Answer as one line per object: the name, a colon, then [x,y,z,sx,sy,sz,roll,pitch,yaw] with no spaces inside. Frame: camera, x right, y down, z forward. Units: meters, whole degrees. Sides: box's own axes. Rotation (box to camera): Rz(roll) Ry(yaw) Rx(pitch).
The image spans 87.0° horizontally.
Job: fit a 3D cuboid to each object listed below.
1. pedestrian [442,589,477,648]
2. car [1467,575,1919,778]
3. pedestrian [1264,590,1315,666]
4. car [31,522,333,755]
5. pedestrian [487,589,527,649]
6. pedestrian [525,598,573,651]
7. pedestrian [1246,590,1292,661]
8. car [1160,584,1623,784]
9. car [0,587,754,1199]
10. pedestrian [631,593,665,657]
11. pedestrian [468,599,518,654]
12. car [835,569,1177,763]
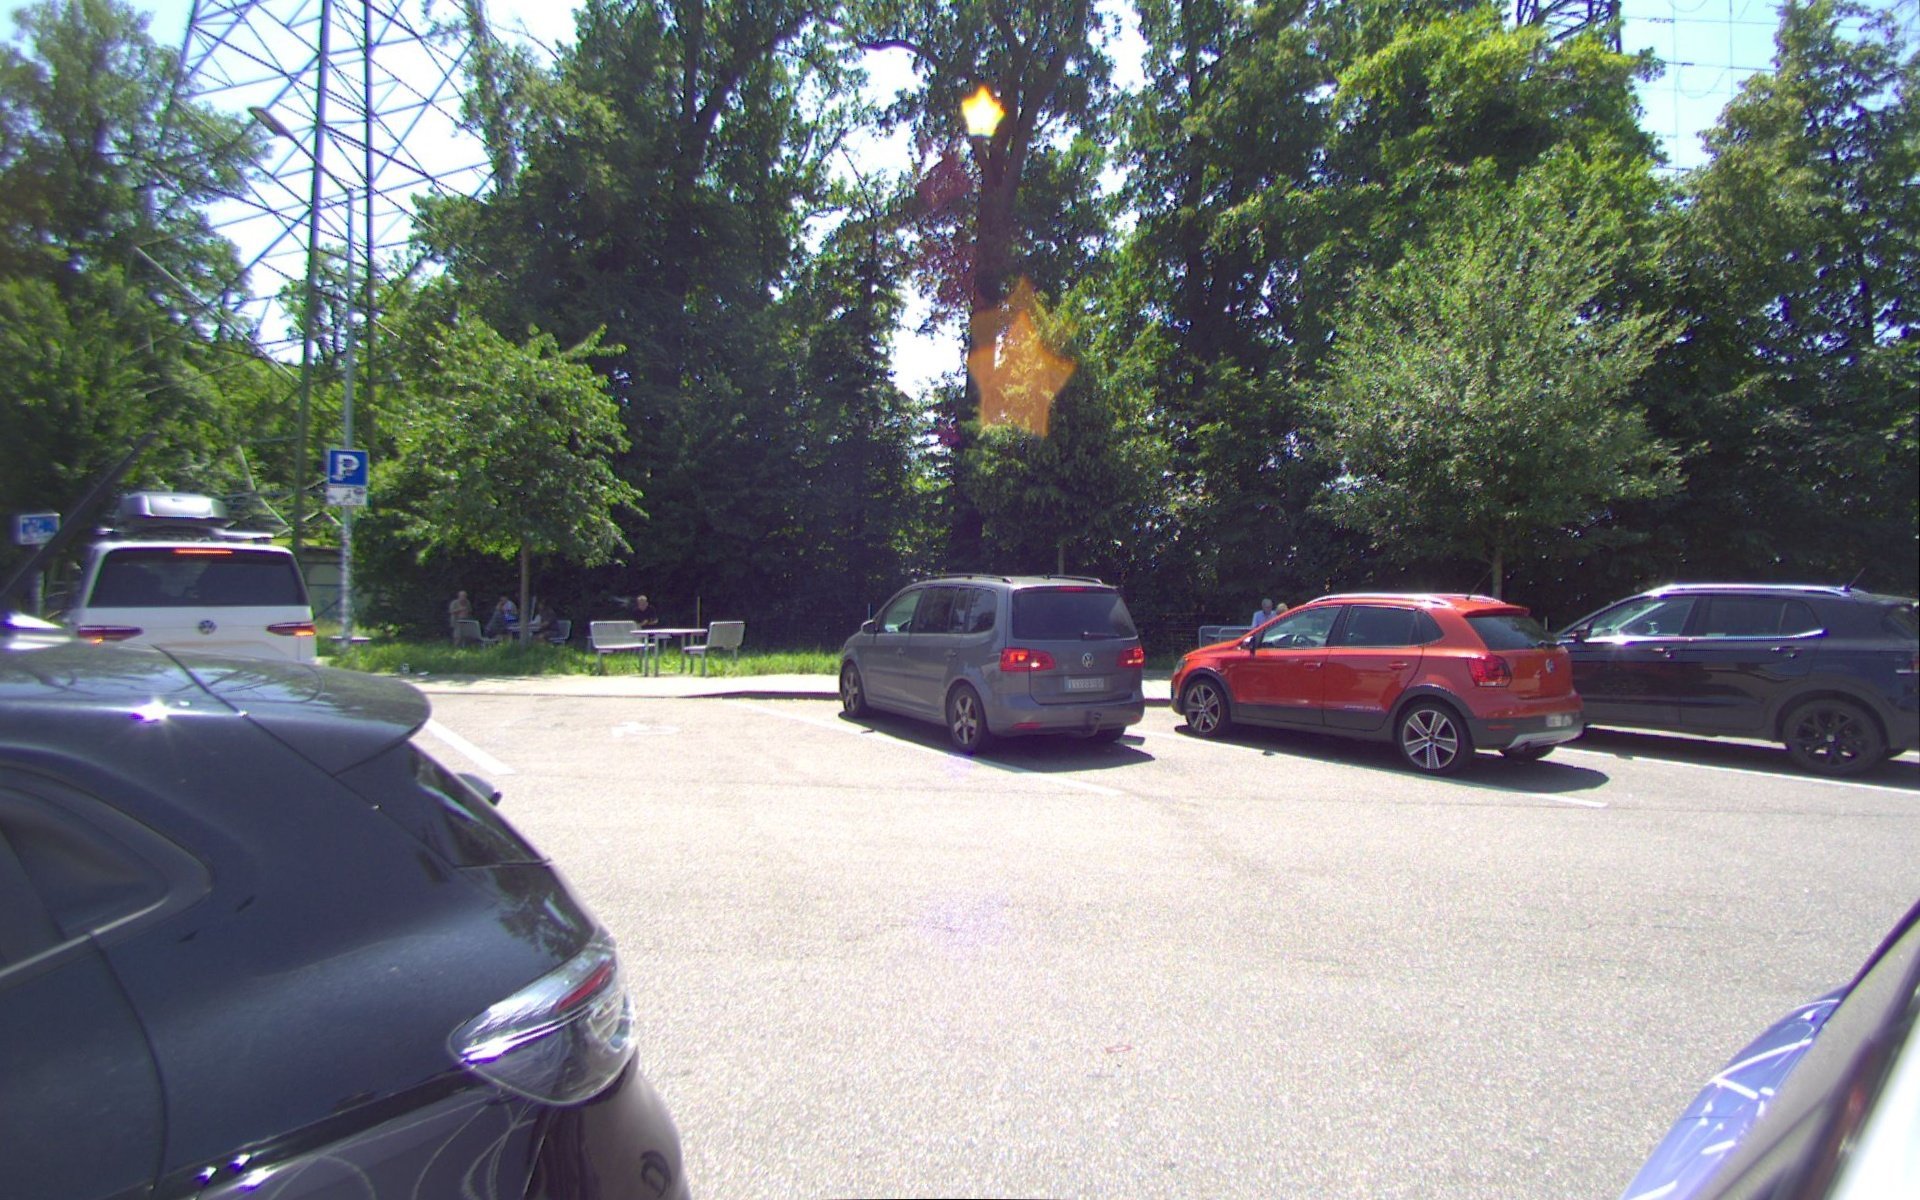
pedestrian: [-12.438,0.451,25.153,0.657,1.422,0.649,0,0,-39]
car: [7.180,0.570,9.716,1.690,1.593,3.787,0,1,-39]
pedestrian: [5.780,0.480,17.785,0.657,1.311,0.783,0,0,3]
car: [-8.357,0.278,10.699,4.549,1.936,1.882,1,1,44]
pedestrian: [-10.998,0.448,24.581,0.664,1.422,0.643,0,0,32]
pedestrian: [-9.603,0.565,23.632,0.873,1.192,0.668,0,0,-41]
pedestrian: [5.784,0.468,18.968,0.657,1.311,0.783,0,0,3]
car: [3.853,0.604,9.656,1.687,1.484,3.793,0,1,-32]
car: [-2.202,0.717,0.607,1.737,1.501,3.757,0,0,44]
pedestrian: [-6.556,0.512,21.285,0.655,1.311,0.786,0,0,-16]
pedestrian: [-10.518,0.578,22.778,0.873,1.192,0.668,0,0,-41]
car: [0.253,0.511,10.526,1.713,1.601,3.996,0,1,-29]
